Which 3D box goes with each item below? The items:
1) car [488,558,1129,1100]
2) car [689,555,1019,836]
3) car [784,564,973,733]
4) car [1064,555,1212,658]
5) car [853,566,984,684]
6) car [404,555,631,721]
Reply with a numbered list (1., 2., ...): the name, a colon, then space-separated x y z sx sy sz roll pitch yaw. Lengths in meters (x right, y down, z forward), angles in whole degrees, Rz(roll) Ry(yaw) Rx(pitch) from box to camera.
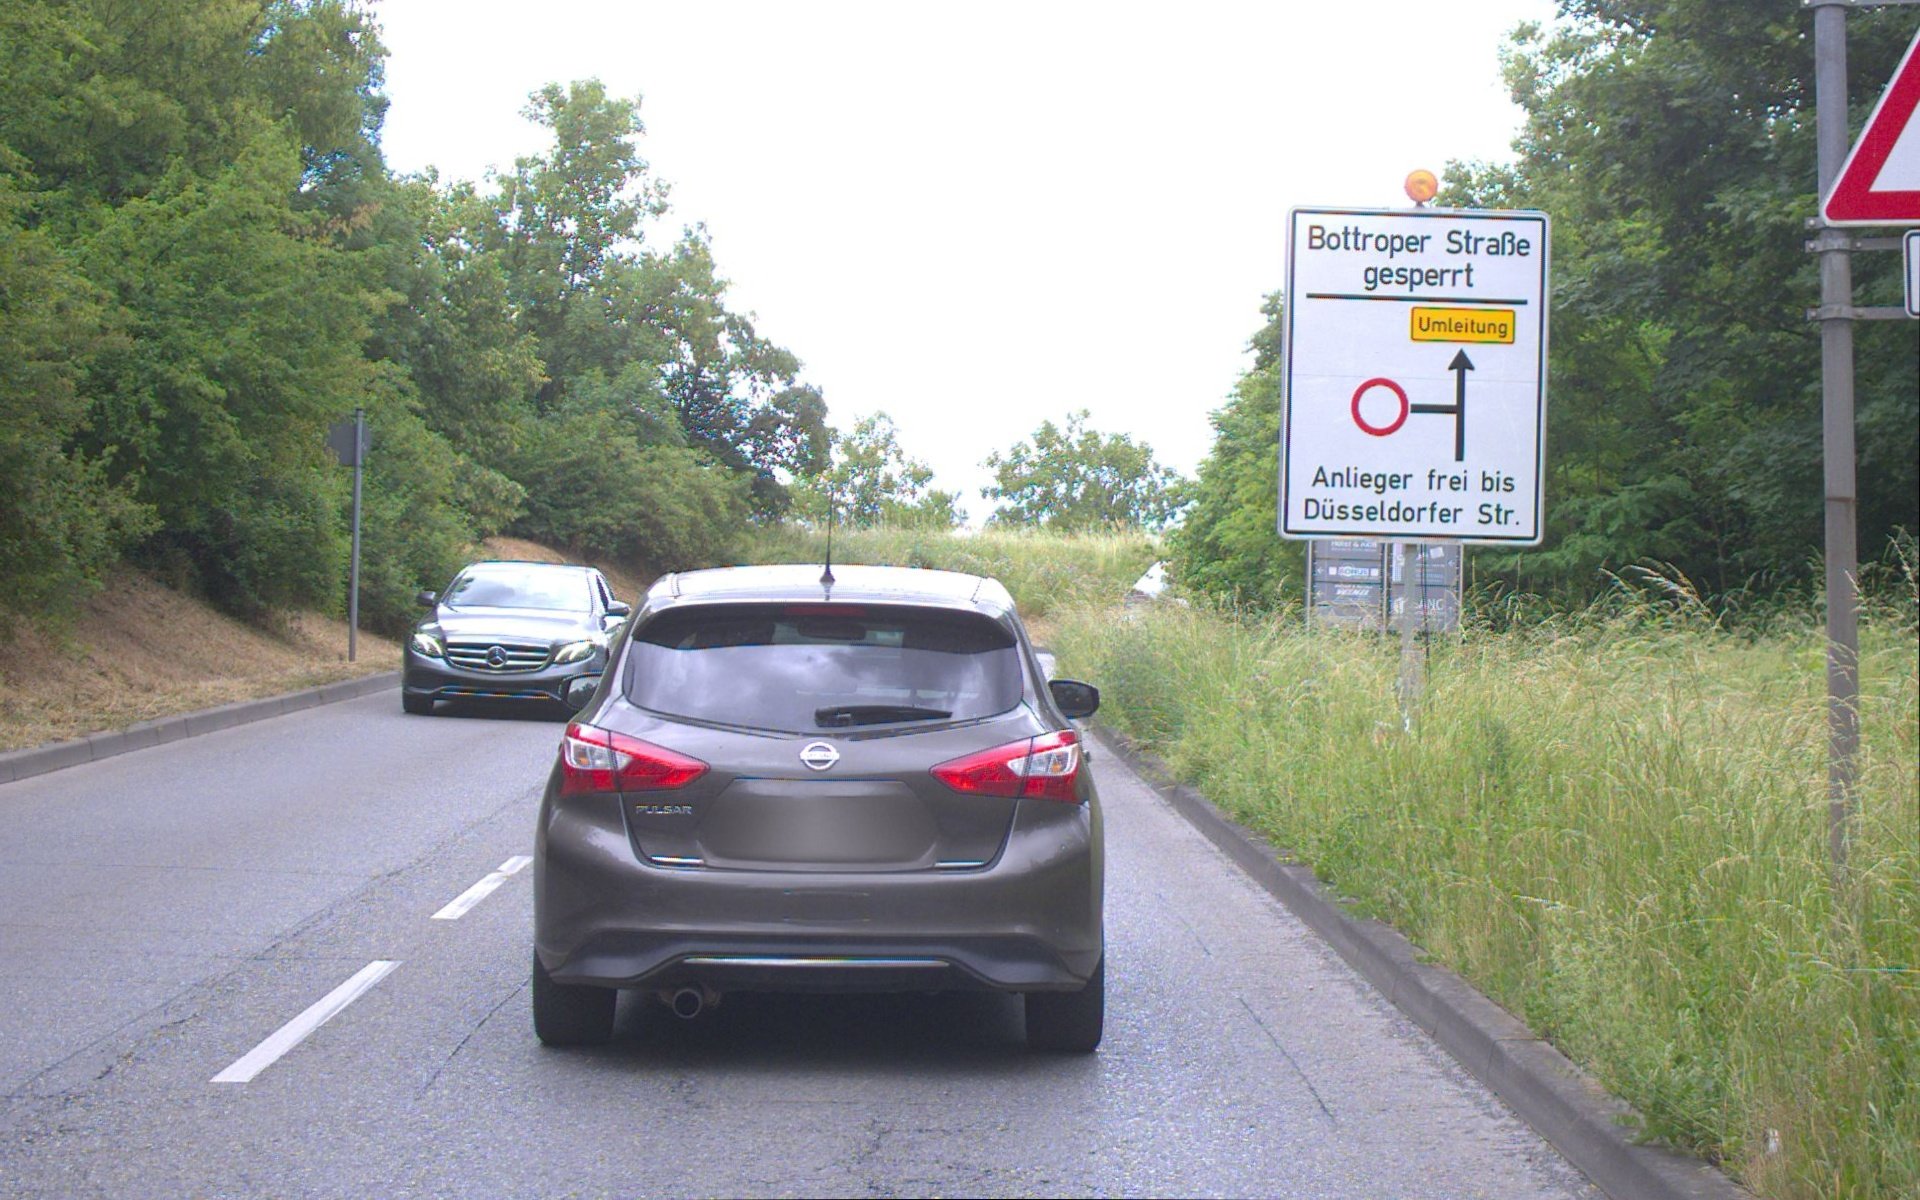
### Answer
1. car: -0.498 0.639 11.636 1.830 1.551 3.499 0 1 -2
2. car: -0.582 0.510 20.951 1.830 1.551 3.624 0 1 0
3. car: -0.749 0.434 33.625 1.736 1.551 3.543 0 1 0
4. car: 3.473 0.104 66.705 1.738 1.928 3.539 0 1 23
5. car: -0.541 0.311 47.420 1.736 1.551 3.543 0 1 0
6. car: -4.161 0.320 32.820 1.642 1.395 3.821 3 1 -1
